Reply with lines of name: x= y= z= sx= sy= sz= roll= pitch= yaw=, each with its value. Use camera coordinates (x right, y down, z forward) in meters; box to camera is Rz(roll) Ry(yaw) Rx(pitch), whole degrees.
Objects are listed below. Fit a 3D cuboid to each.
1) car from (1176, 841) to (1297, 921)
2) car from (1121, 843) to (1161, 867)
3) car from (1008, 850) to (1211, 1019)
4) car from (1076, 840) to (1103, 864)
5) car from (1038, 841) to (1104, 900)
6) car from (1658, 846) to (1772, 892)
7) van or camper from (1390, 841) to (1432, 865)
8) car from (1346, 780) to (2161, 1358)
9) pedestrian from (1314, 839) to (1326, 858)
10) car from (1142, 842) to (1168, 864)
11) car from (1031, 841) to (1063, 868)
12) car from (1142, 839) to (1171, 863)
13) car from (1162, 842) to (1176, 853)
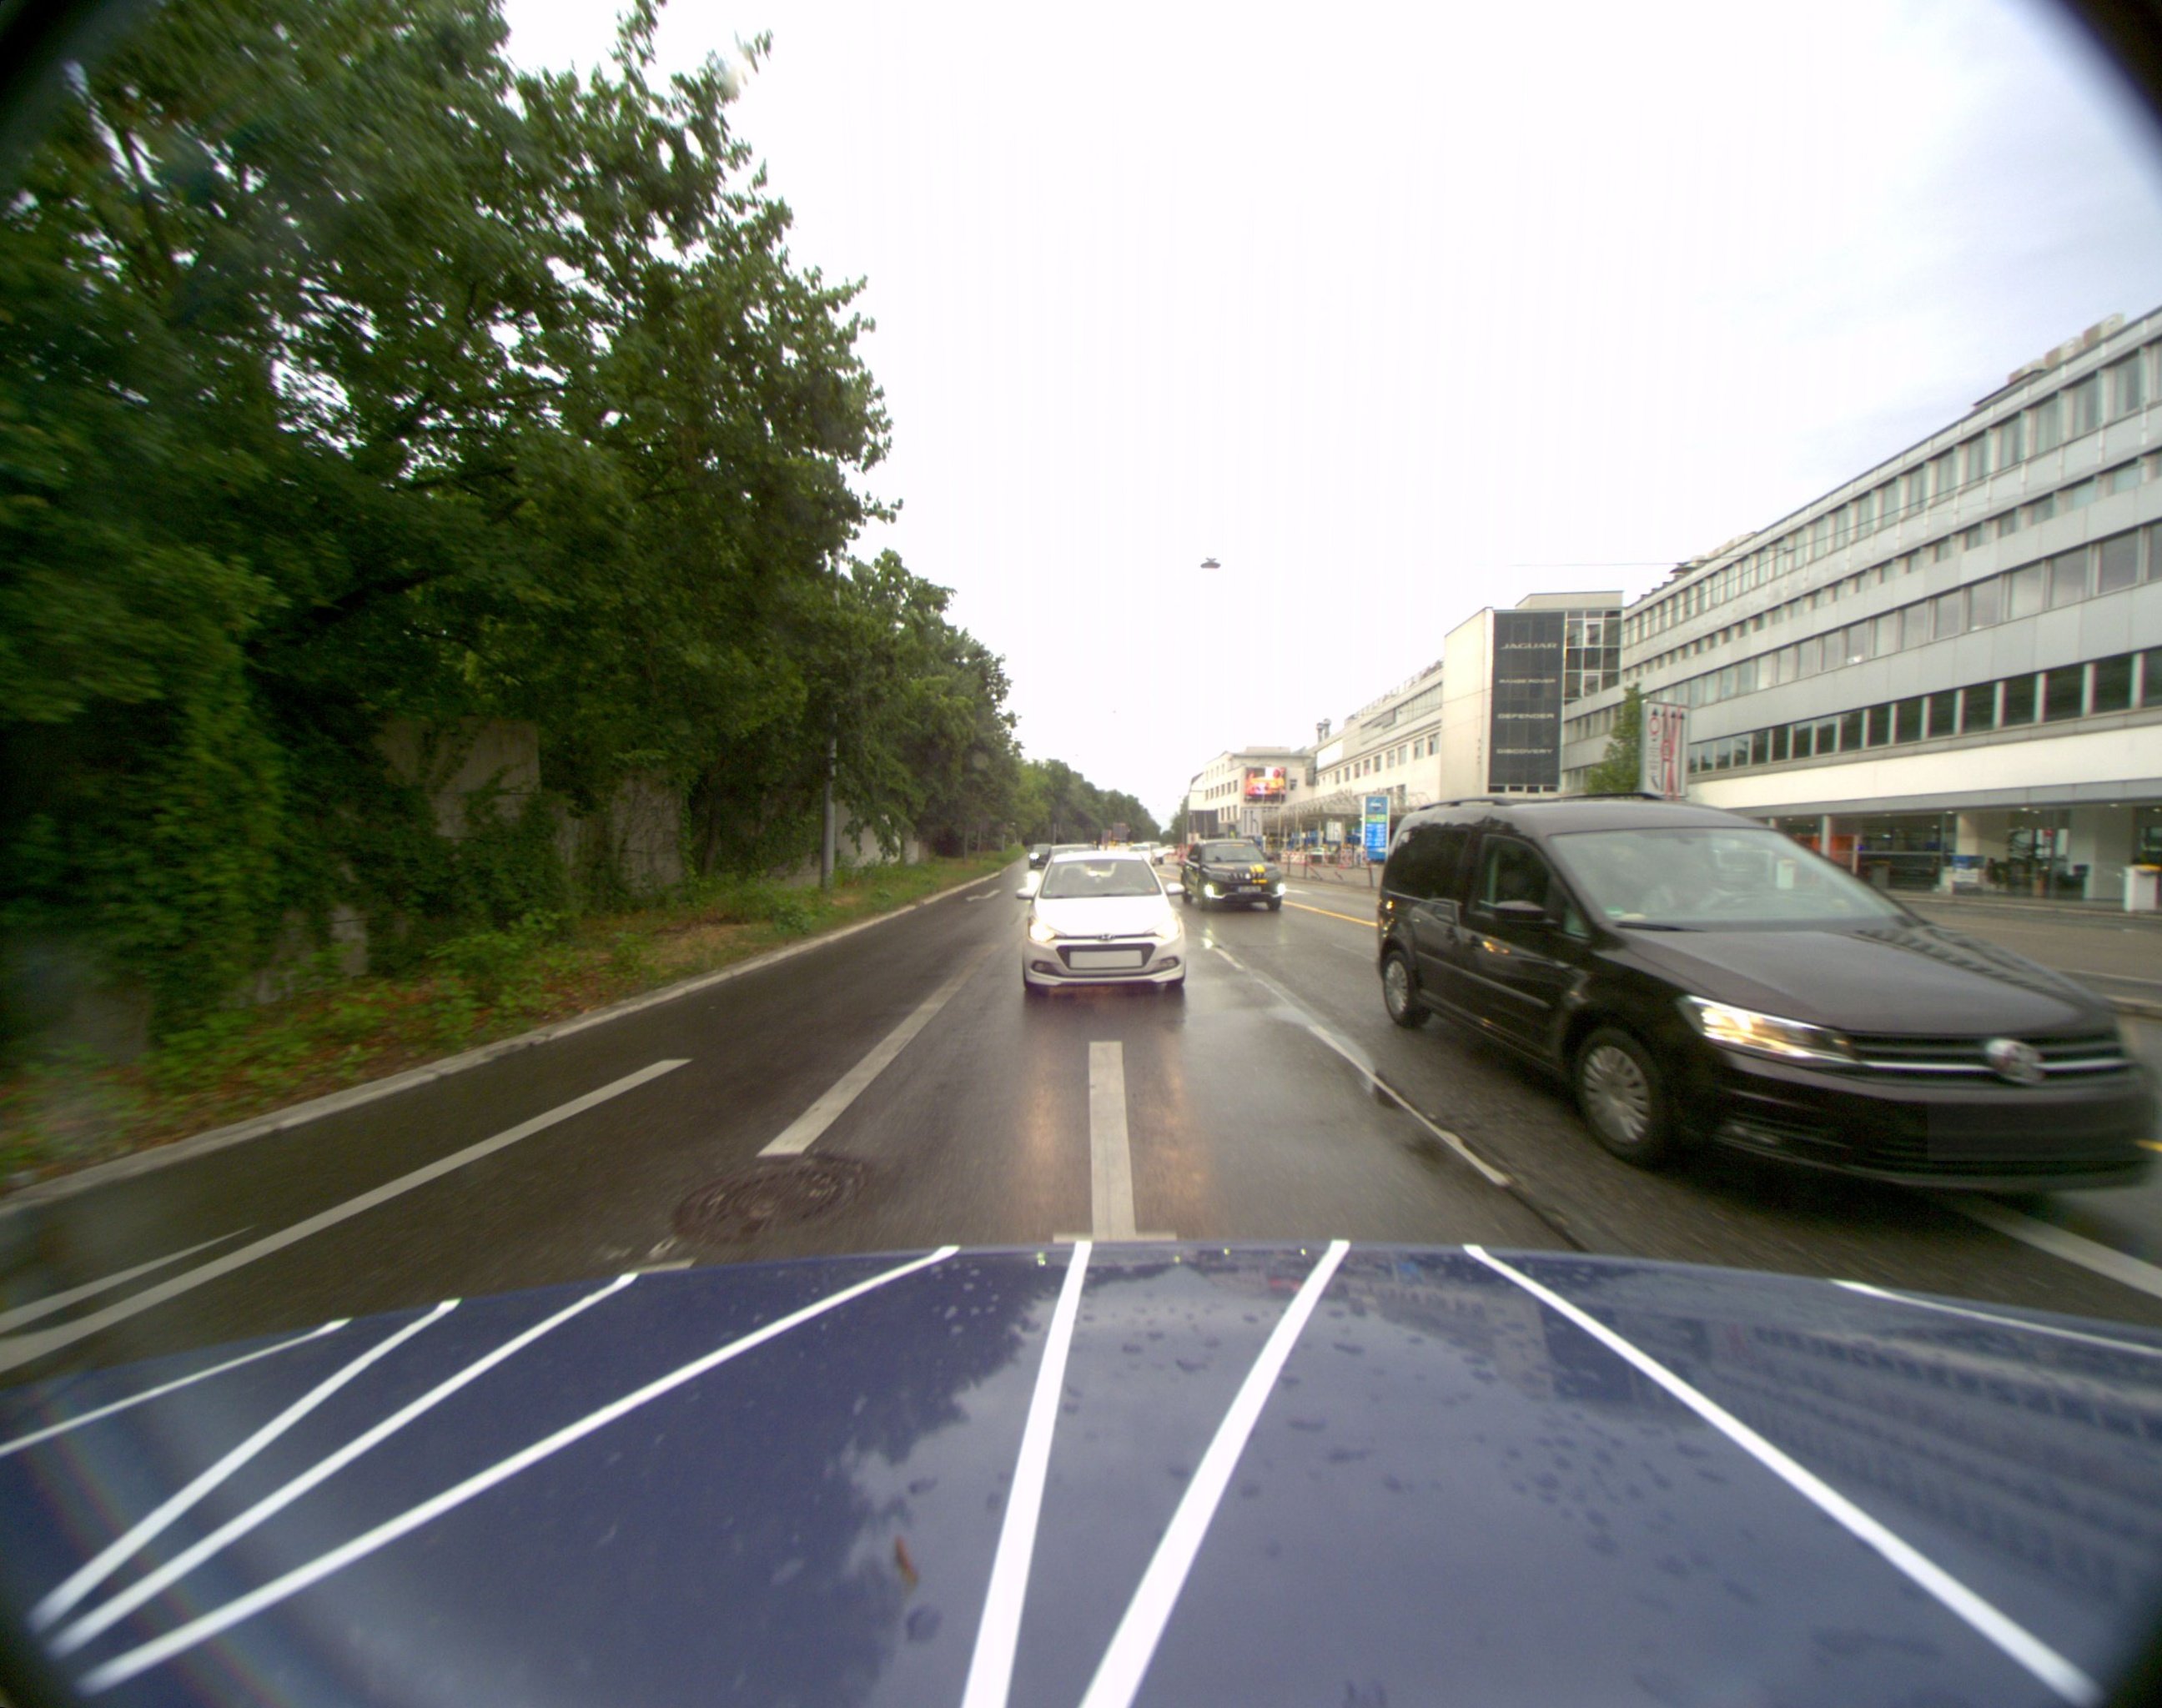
car: x=3.489 y=0.514 z=17.848 sx=1.814 sy=1.590 sz=4.332 roll=-2 pitch=1 yaw=-2
car: x=3.918 y=0.023 z=49.053 sx=1.769 sy=1.407 sz=4.337 roll=-2 pitch=1 yaw=15
car: x=0.322 y=0.734 z=9.161 sx=1.814 sy=1.444 sz=4.333 roll=-2 pitch=1 yaw=2
car: x=0.638 y=-0.182 z=54.080 sx=1.814 sy=1.590 sz=4.333 roll=-2 pitch=1 yaw=2
car: x=-0.229 y=0.436 z=23.578 sx=1.814 sy=1.590 sz=4.333 roll=-2 pitch=1 yaw=2
car: x=28.226 y=0.617 z=34.013 sx=1.922 sy=1.805 sz=4.166 roll=-2 pitch=1 yaw=6
van or camper: x=27.431 y=-0.134 z=63.321 sx=1.939 sy=1.913 sz=4.686 roll=0 pitch=1 yaw=7
car: x=3.300 y=0.635 z=4.592 sx=1.905 sy=1.804 sz=4.430 roll=-2 pitch=1 yaw=2
pedestrian: x=23.536 y=-0.582 z=74.785 sx=0.895 sy=1.804 sz=0.941 roll=-2 pitch=2 yaw=5
car: x=5.969 y=-0.120 z=61.349 sx=1.771 sy=1.608 sz=3.948 roll=-2 pitch=1 yaw=2
car: x=-2.225 y=-0.005 z=50.608 sx=1.814 sy=1.590 sz=4.333 roll=-2 pitch=1 yaw=2
car: x=5.547 y=-0.266 z=56.023 sx=1.771 sy=1.628 sz=4.333 roll=-2 pitch=1 yaw=2
car: x=14.127 y=-1.044 z=121.891 sx=1.806 sy=1.523 sz=3.763 roll=3 pitch=0 yaw=0
